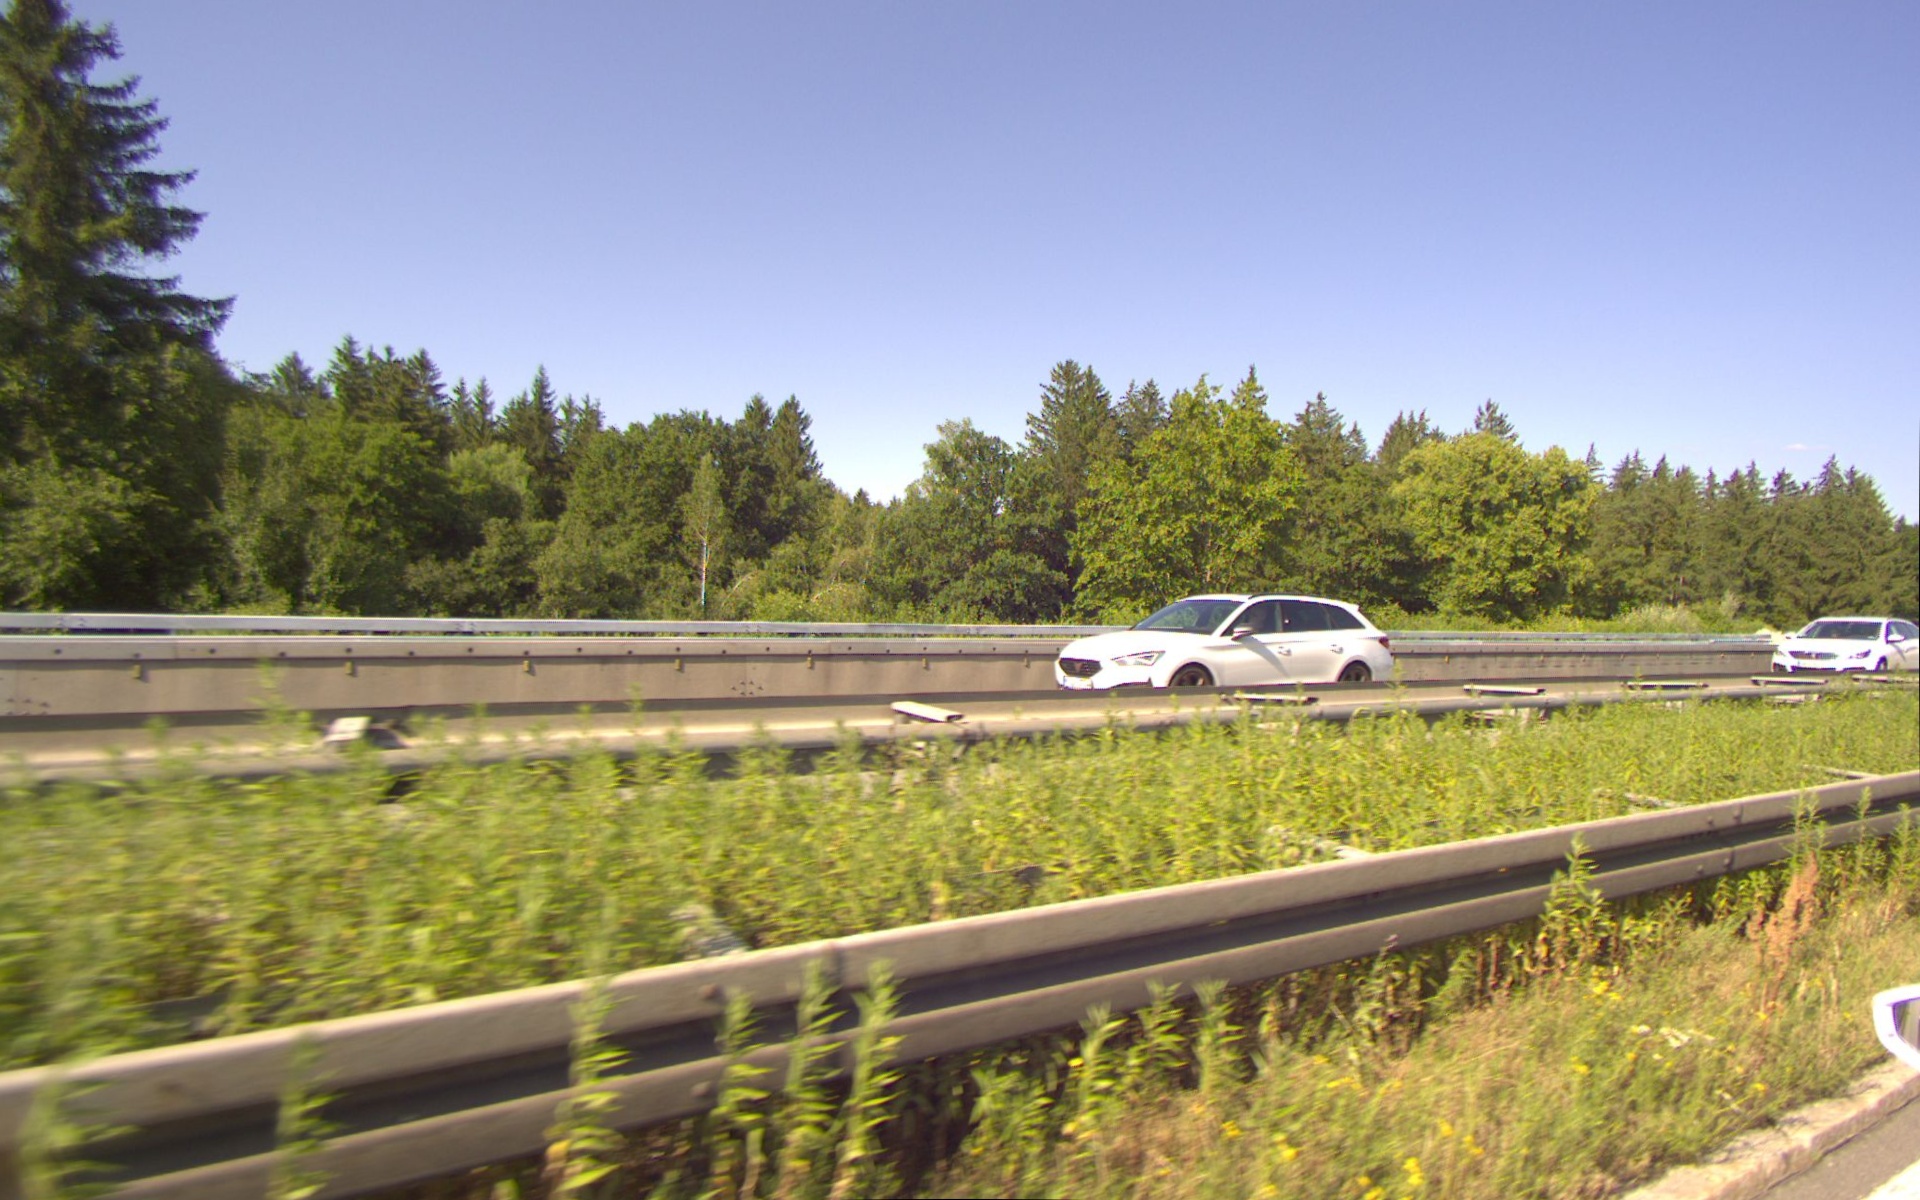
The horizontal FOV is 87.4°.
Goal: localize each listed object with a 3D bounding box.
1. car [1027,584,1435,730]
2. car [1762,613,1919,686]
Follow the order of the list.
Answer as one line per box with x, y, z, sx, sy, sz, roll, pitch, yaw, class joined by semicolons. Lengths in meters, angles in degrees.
3.366;0.615;12.121;4.927;1.451;1.873;2;0;-31;car
19.732;1.048;22.106;4.899;1.451;1.692;1;-1;-31;car
